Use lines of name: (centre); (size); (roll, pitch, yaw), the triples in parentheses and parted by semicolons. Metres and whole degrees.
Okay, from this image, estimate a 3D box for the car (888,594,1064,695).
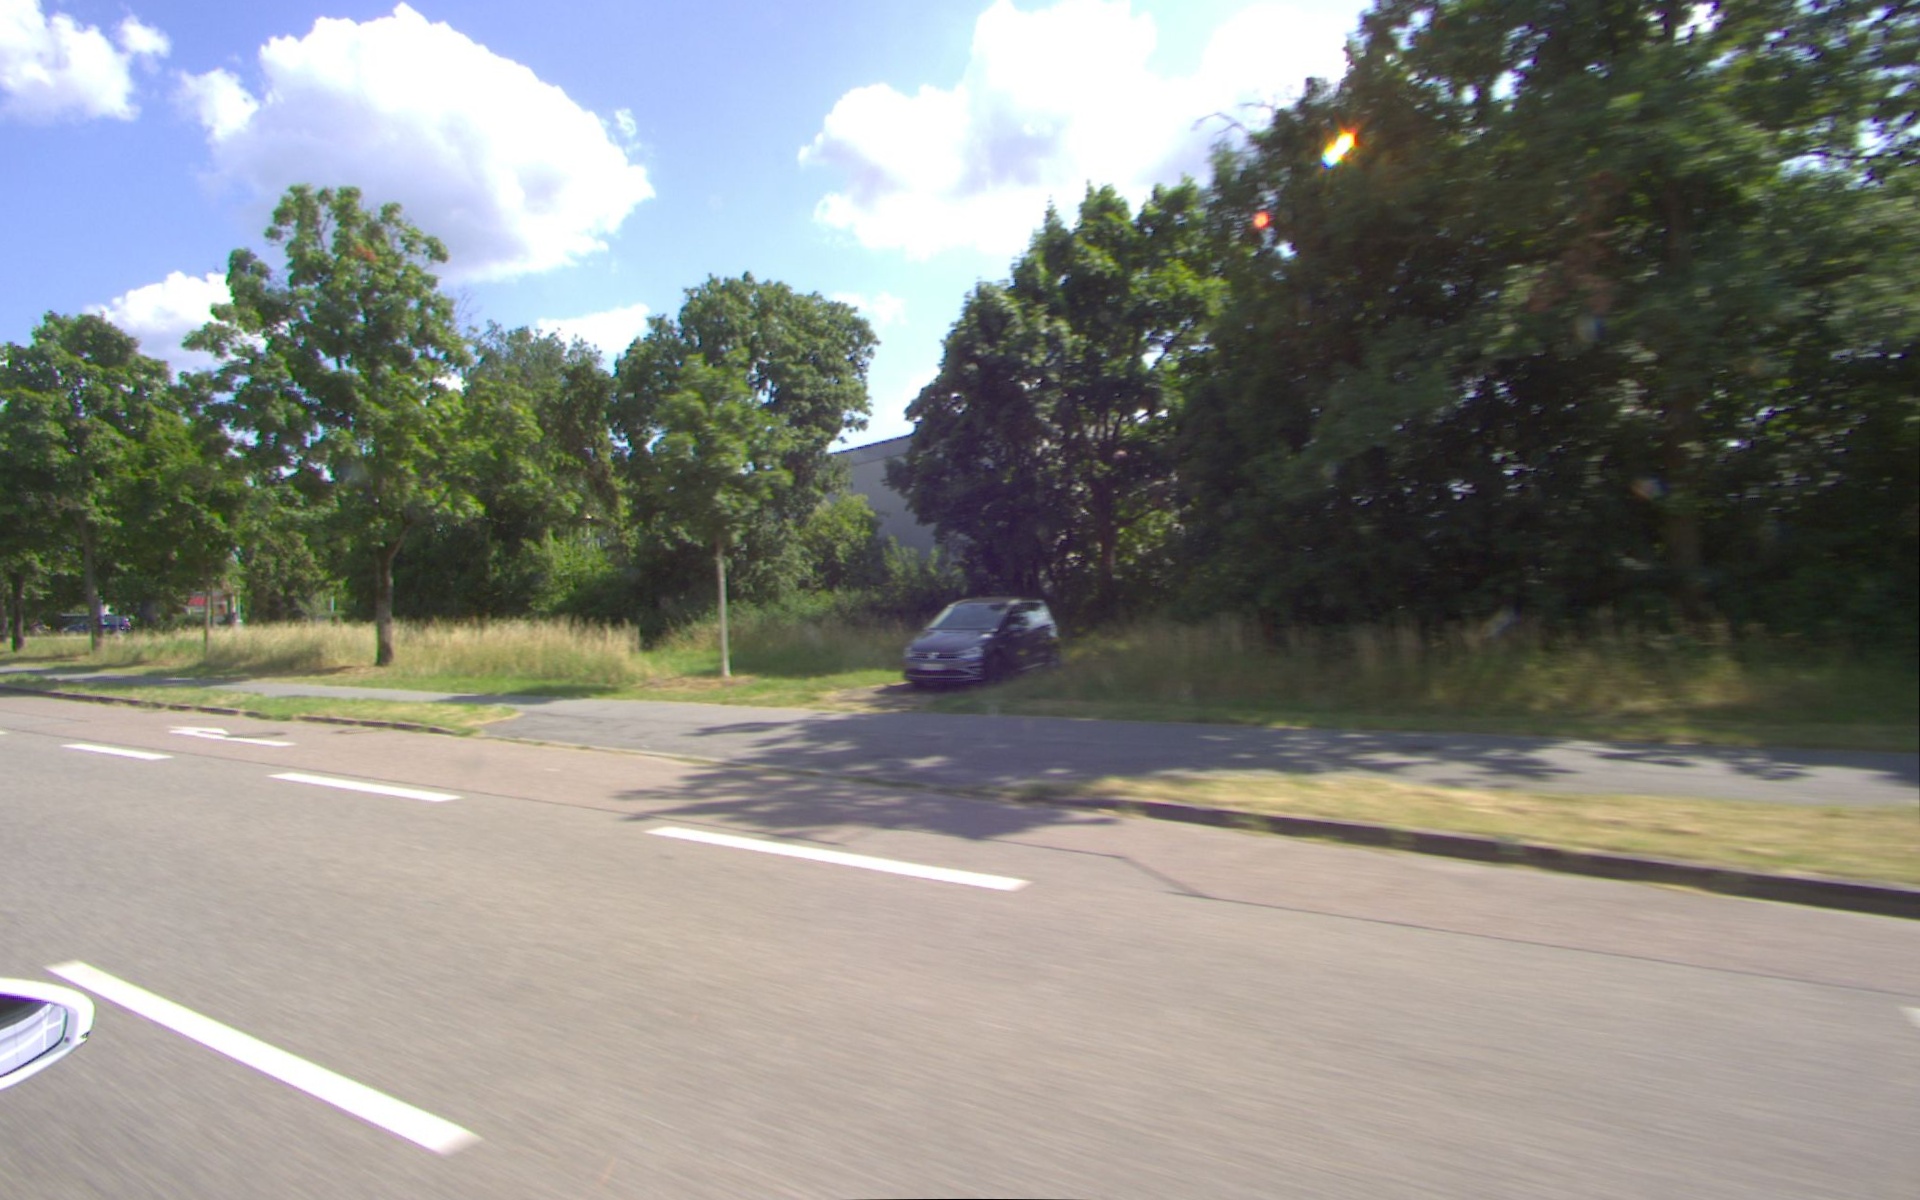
car: (0.437, 0.729, 19.004); (1.755, 1.514, 4.159); (1, 3, 26)
